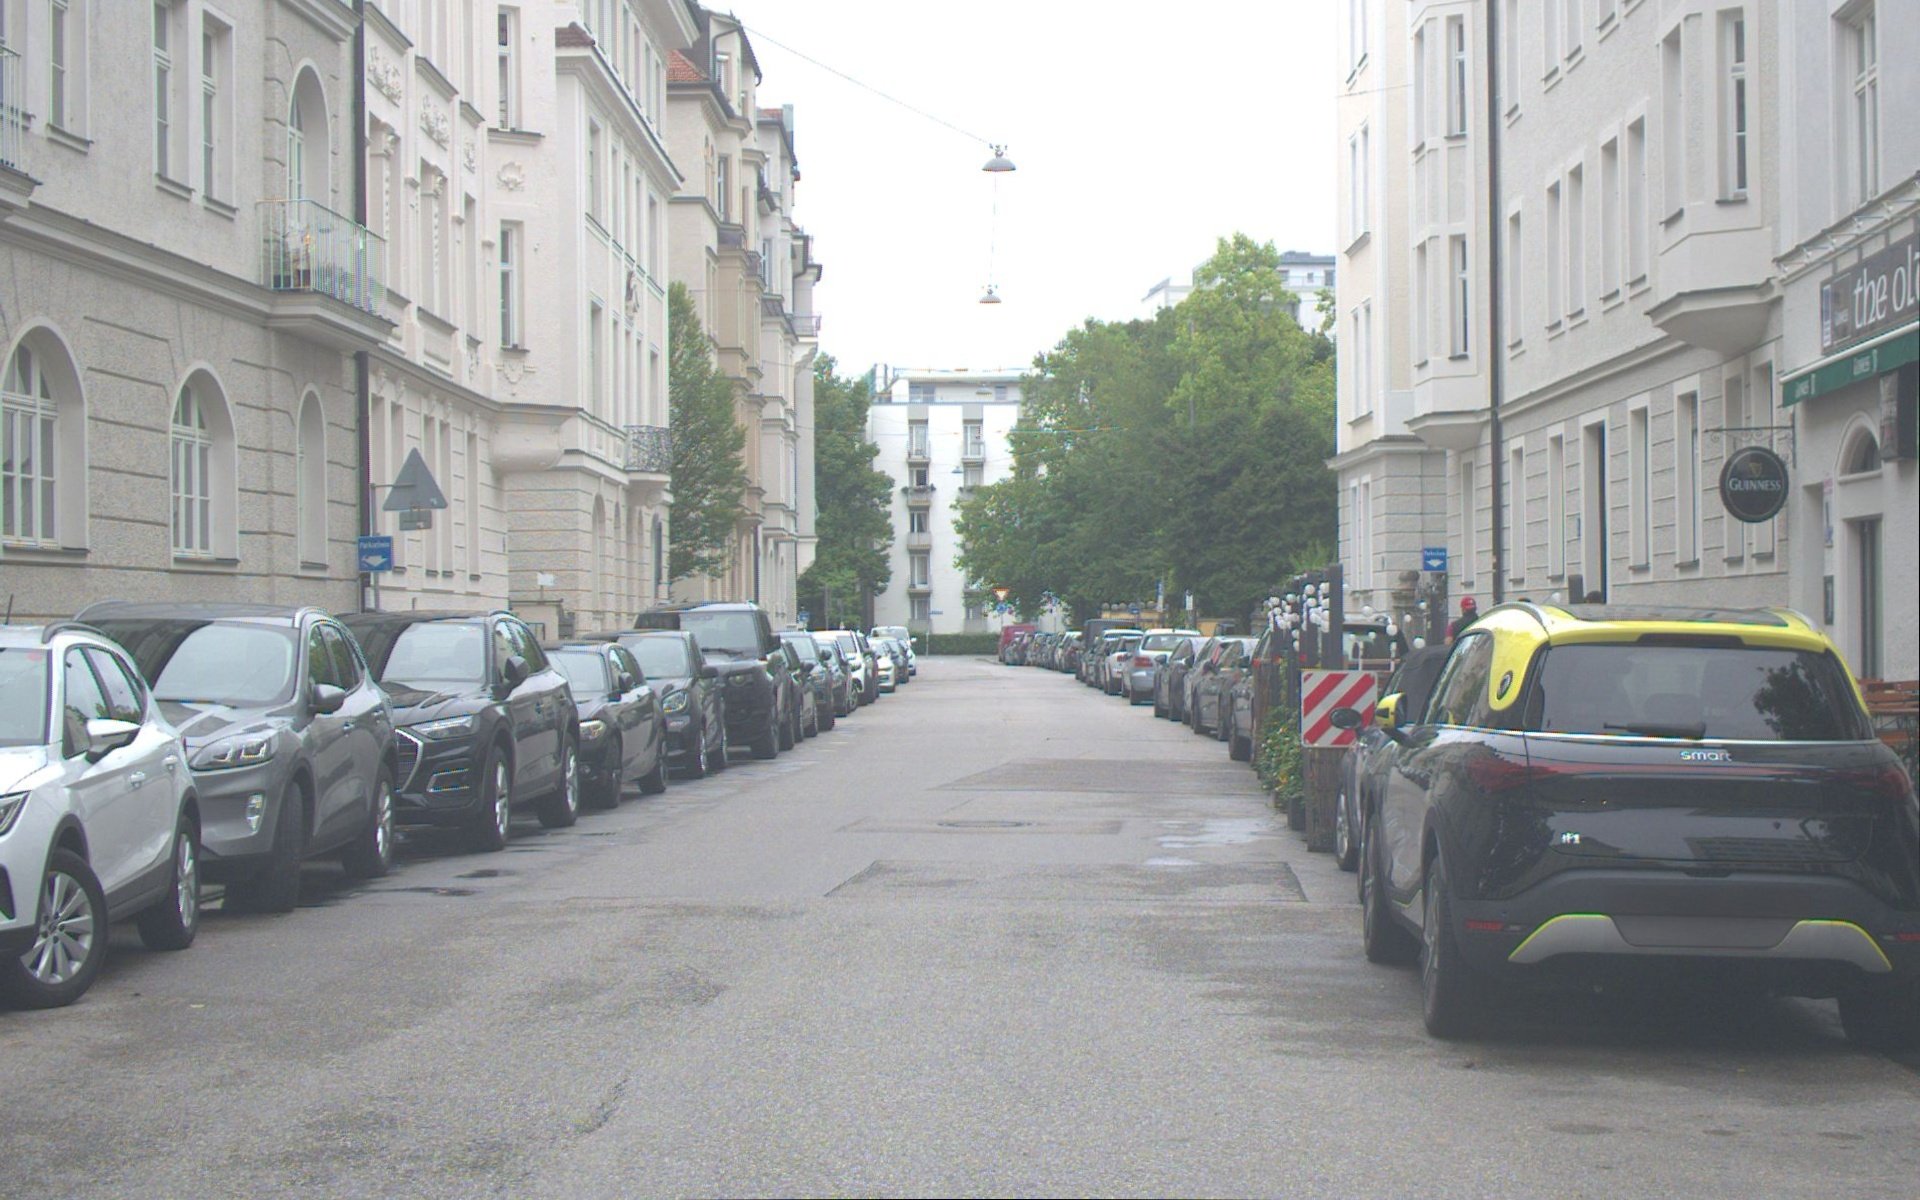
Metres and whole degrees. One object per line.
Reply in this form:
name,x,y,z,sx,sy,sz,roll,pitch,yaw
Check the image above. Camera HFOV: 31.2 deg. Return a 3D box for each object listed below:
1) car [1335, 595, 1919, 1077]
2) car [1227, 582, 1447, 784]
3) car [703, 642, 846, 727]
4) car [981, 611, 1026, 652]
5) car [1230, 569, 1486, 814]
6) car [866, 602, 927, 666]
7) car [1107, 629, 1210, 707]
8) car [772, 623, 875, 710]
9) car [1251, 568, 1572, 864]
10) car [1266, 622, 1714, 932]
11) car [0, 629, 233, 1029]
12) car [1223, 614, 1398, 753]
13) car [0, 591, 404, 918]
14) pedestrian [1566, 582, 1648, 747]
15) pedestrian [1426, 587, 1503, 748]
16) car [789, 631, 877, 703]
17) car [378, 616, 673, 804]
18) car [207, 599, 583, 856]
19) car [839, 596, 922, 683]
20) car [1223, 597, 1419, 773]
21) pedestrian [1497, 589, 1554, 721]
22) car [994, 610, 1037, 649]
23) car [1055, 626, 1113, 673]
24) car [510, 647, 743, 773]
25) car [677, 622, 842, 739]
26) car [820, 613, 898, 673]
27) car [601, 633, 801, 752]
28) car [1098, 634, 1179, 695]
car,2.642,0.834,14.192,1.820,1.630,4.288,2,0,2
car,3.657,0.769,33.983,1.994,1.850,4.344,0,0,4
car,-2.825,1.277,53.131,1.906,1.218,4.000,0,0,1
car,2.112,1.514,167.456,1.993,1.975,4.893,0,0,-2
car,3.371,0.746,29.810,1.820,1.917,4.183,2,0,2
car,-2.002,1.062,109.656,1.846,2.007,4.000,0,0,0
car,4.144,1.409,72.281,1.906,1.571,4.000,0,0,0
car,-2.537,1.219,64.708,1.820,1.568,4.000,0,0,-1
car,3.123,0.764,24.544,1.820,1.864,4.288,2,0,2
car,2.894,0.912,19.760,1.976,1.493,4.637,2,0,2
car,-4.473,0.872,14.843,1.993,1.468,4.219,0,0,-3
car,4.421,1.025,43.848,1.994,1.687,4.171,0,0,3
car,-4.456,0.800,19.642,1.993,1.670,4.012,0,0,-1
pedestrian,7.375,0.726,39.207,0.778,1.845,1.023,0,0,3
pedestrian,5.826,0.771,39.769,0.778,1.845,1.023,0,0,3
car,-2.578,1.354,70.669,1.733,1.415,4.000,0,0,-1
car,-3.783,0.927,30.601,1.926,1.541,4.000,0,0,3
car,-3.930,0.841,24.623,1.993,1.670,4.289,0,0,0
car,-1.851,0.915,81.011,1.846,2.007,4.000,0,0,0
car,3.923,0.894,37.927,1.820,1.781,4.183,2,0,2
pedestrian,8.024,0.774,48.752,0.778,1.845,0.859,0,0,10
car,2.878,1.539,179.364,1.993,1.975,4.893,0,0,-2
car,4.613,1.834,128.012,1.950,1.646,4.000,-2,0,0
car,-3.475,1.133,36.491,1.906,1.218,4.000,0,0,3
car,-2.604,1.027,45.349,1.734,1.459,3.999,0,0,3
car,-2.678,1.141,91.917,1.993,1.568,4.000,0,0,-1
car,-3.050,1.074,41.240,1.906,1.324,4.000,0,0,3
car,4.284,1.542,83.009,1.730,1.413,3.852,0,0,0
